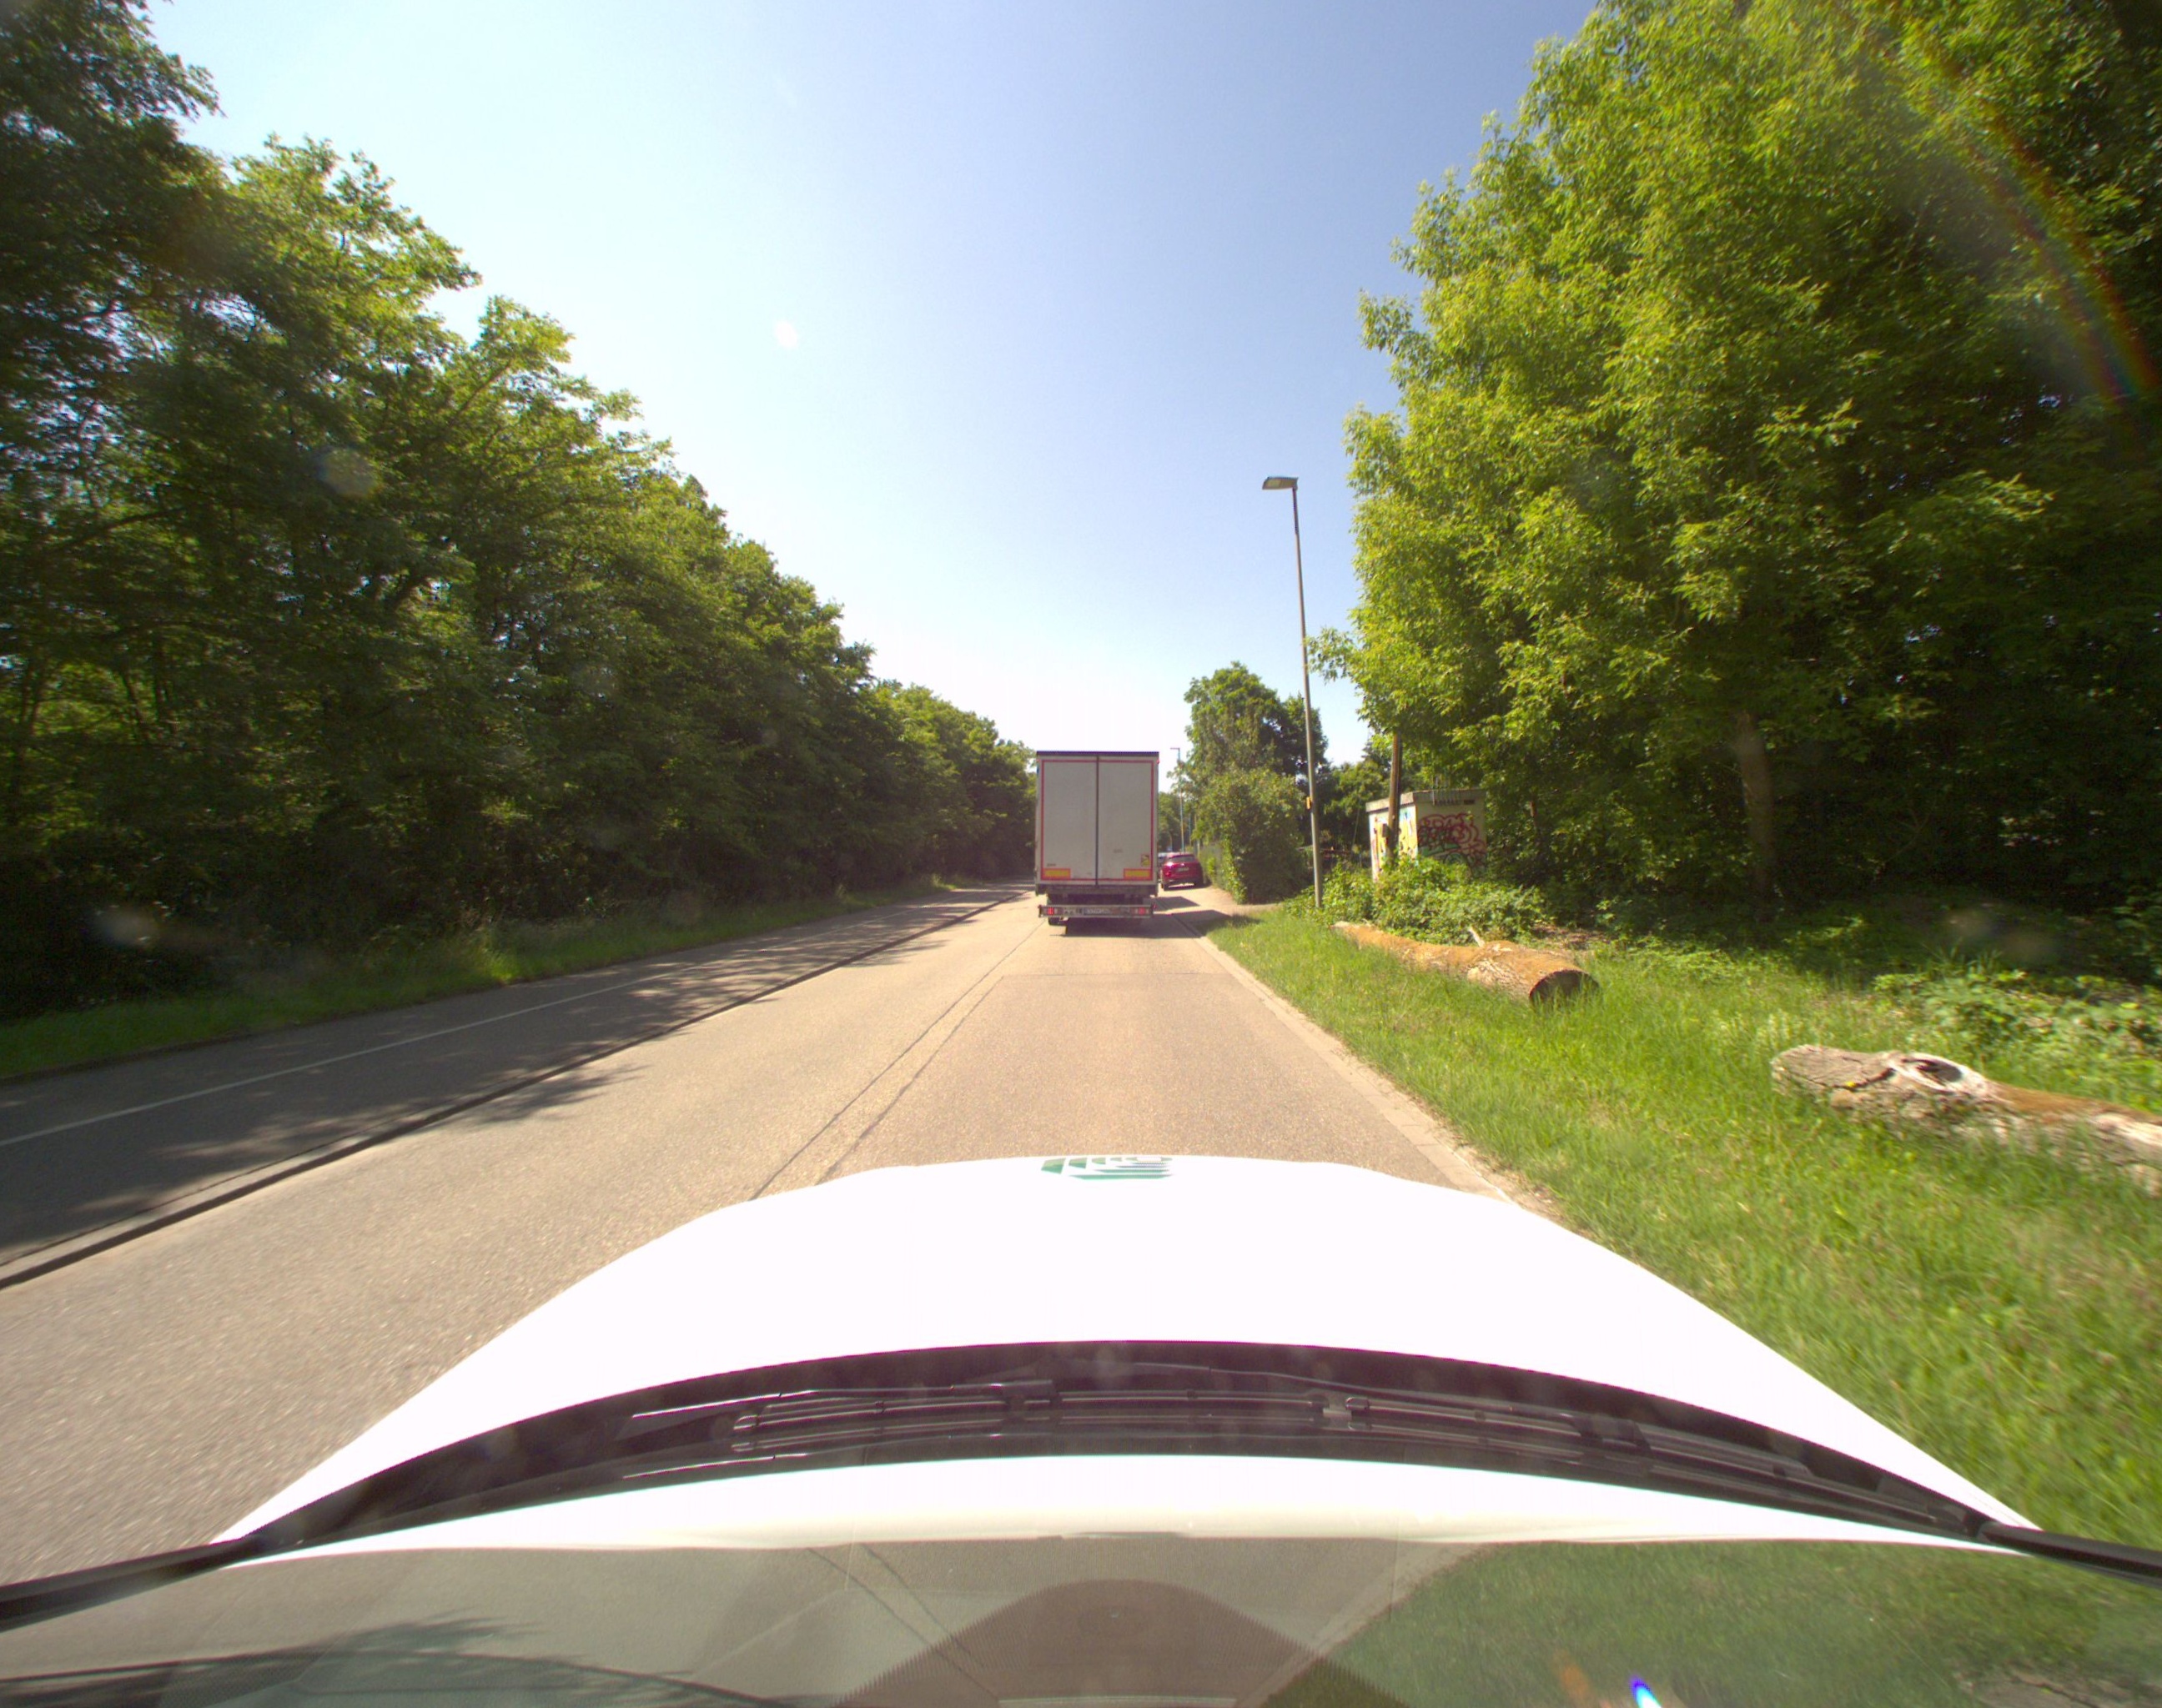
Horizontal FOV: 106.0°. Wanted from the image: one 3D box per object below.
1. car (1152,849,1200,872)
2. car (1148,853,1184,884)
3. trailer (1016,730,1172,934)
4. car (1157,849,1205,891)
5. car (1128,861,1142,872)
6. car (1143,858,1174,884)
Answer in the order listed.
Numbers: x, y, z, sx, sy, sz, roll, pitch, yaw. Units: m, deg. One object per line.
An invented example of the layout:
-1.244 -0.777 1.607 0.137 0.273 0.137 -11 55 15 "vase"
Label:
8.757 0.620 75.169 4.236 1.698 1.856 -6 -1 6 "car"
5.015 0.828 48.360 1.782 1.603 4.132 -3 0 3 "car"
0.310 -0.430 22.452 3.102 4.102 11.536 -1 0 0 "trailer"
4.648 0.716 38.280 1.782 1.658 4.456 -6 -1 3 "car"
7.850 1.827 118.482 1.771 1.486 4.009 -2 0 8 "car"
5.158 1.075 54.638 1.782 1.482 4.668 -6 -1 3 "car"
